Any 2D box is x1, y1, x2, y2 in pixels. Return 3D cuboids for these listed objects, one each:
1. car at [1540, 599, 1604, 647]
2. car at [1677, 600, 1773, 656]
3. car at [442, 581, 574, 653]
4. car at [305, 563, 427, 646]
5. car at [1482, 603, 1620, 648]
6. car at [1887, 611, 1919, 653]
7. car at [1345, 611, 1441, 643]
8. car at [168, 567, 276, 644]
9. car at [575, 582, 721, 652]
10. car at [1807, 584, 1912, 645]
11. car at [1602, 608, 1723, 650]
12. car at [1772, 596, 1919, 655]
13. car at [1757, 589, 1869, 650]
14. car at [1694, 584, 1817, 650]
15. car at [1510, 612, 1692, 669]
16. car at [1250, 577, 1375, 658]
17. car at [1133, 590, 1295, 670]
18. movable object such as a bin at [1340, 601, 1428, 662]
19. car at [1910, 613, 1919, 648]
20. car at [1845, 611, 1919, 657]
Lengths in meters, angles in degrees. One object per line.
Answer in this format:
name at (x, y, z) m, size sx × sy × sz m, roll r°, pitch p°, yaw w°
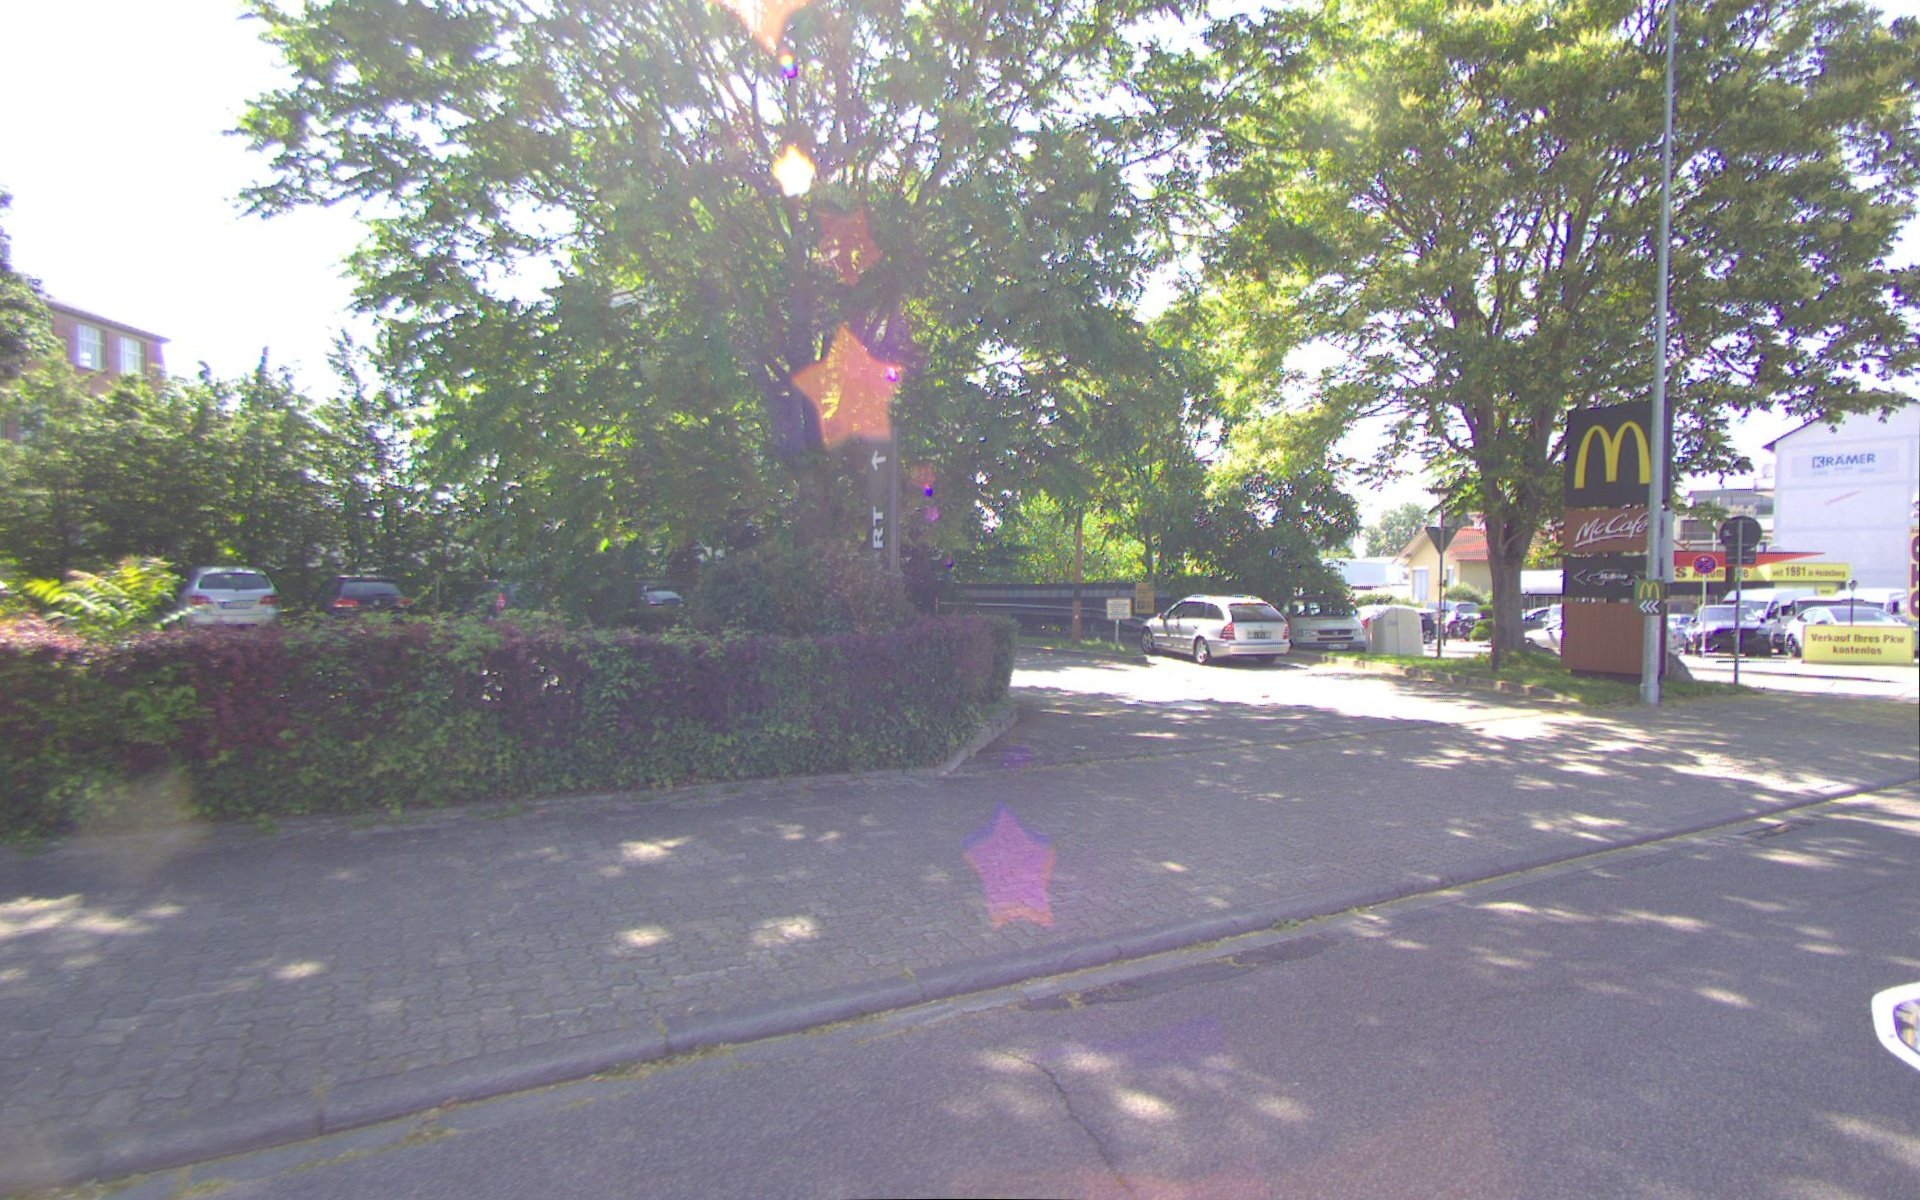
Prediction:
car at (22.959, 0.837, 37.829) m, size 1.777 × 1.678 × 4.308 m, roll -1°, pitch -1°, yaw 28°
car at (25.065, 0.925, 33.054) m, size 2.013 × 1.729 × 4.306 m, roll 0°, pitch -2°, yaw 31°
car at (-10.249, 0.330, 22.644) m, size 1.615 × 1.414 × 4.021 m, roll 0°, pitch 2°, yaw -41°
car at (-14.076, 0.045, 23.715) m, size 1.788 × 1.755 × 3.974 m, roll 0°, pitch 2°, yaw -41°
car at (25.611, 1.074, 43.721) m, size 4.794 × 1.867 × 2.163 m, roll 0°, pitch 0°, yaw 16°
car at (36.688, 1.167, 37.742) m, size 1.809 × 1.492 × 3.992 m, roll -2°, pitch -2°, yaw 30°
car at (21.622, 1.345, 50.240) m, size 4.059 × 1.509 × 1.867 m, roll 0°, pitch 0°, yaw -10°
car at (-17.204, 0.068, 23.358) m, size 1.631 × 1.609 × 3.800 m, roll 0°, pitch 2°, yaw -43°
car at (-7.348, 0.341, 23.420) m, size 1.756 × 1.406 × 4.045 m, roll 0°, pitch 2°, yaw -41°
car at (40.235, 0.653, 44.881) m, size 5.664 × 2.463 × 2.230 m, roll 2°, pitch 3°, yaw -36°
car at (28.346, 1.128, 40.528) m, size 4.621 × 1.596 × 1.904 m, roll 0°, pitch 0°, yaw -24°
car at (28.138, 0.880, 32.017) m, size 1.942 × 1.729 × 4.666 m, roll -1°, pitch -3°, yaw 19°
car at (35.075, 0.828, 41.282) m, size 4.772 × 2.381 × 2.233 m, roll 2°, pitch -1°, yaw -33°
car at (35.652, 0.798, 44.972) m, size 6.080 × 2.794 × 2.266 m, roll 1°, pitch -1°, yaw -30°
car at (18.747, 1.134, 29.651) m, size 1.655 × 1.513 × 4.590 m, roll 0°, pitch 0°, yaw -16°
car at (9.371, 0.525, 27.142) m, size 1.855 × 1.945 × 4.527 m, roll -2°, pitch -3°, yaw 2°
car at (5.480, 0.581, 22.318) m, size 1.684 × 1.423 × 4.374 m, roll -2°, pitch 3°, yaw -13°
movable object such as a bin at (11.576, 0.852, 27.496) m, size 1.429 × 1.546 × 1.772 m, roll -2°, pitch -1°, yaw -11°
car at (40.881, 1.238, 41.143) m, size 1.753 × 1.492 × 3.995 m, roll -2°, pitch -2°, yaw 27°
car at (32.203, 1.132, 34.551) m, size 1.809 × 1.492 × 3.993 m, roll -2°, pitch -2°, yaw 30°
